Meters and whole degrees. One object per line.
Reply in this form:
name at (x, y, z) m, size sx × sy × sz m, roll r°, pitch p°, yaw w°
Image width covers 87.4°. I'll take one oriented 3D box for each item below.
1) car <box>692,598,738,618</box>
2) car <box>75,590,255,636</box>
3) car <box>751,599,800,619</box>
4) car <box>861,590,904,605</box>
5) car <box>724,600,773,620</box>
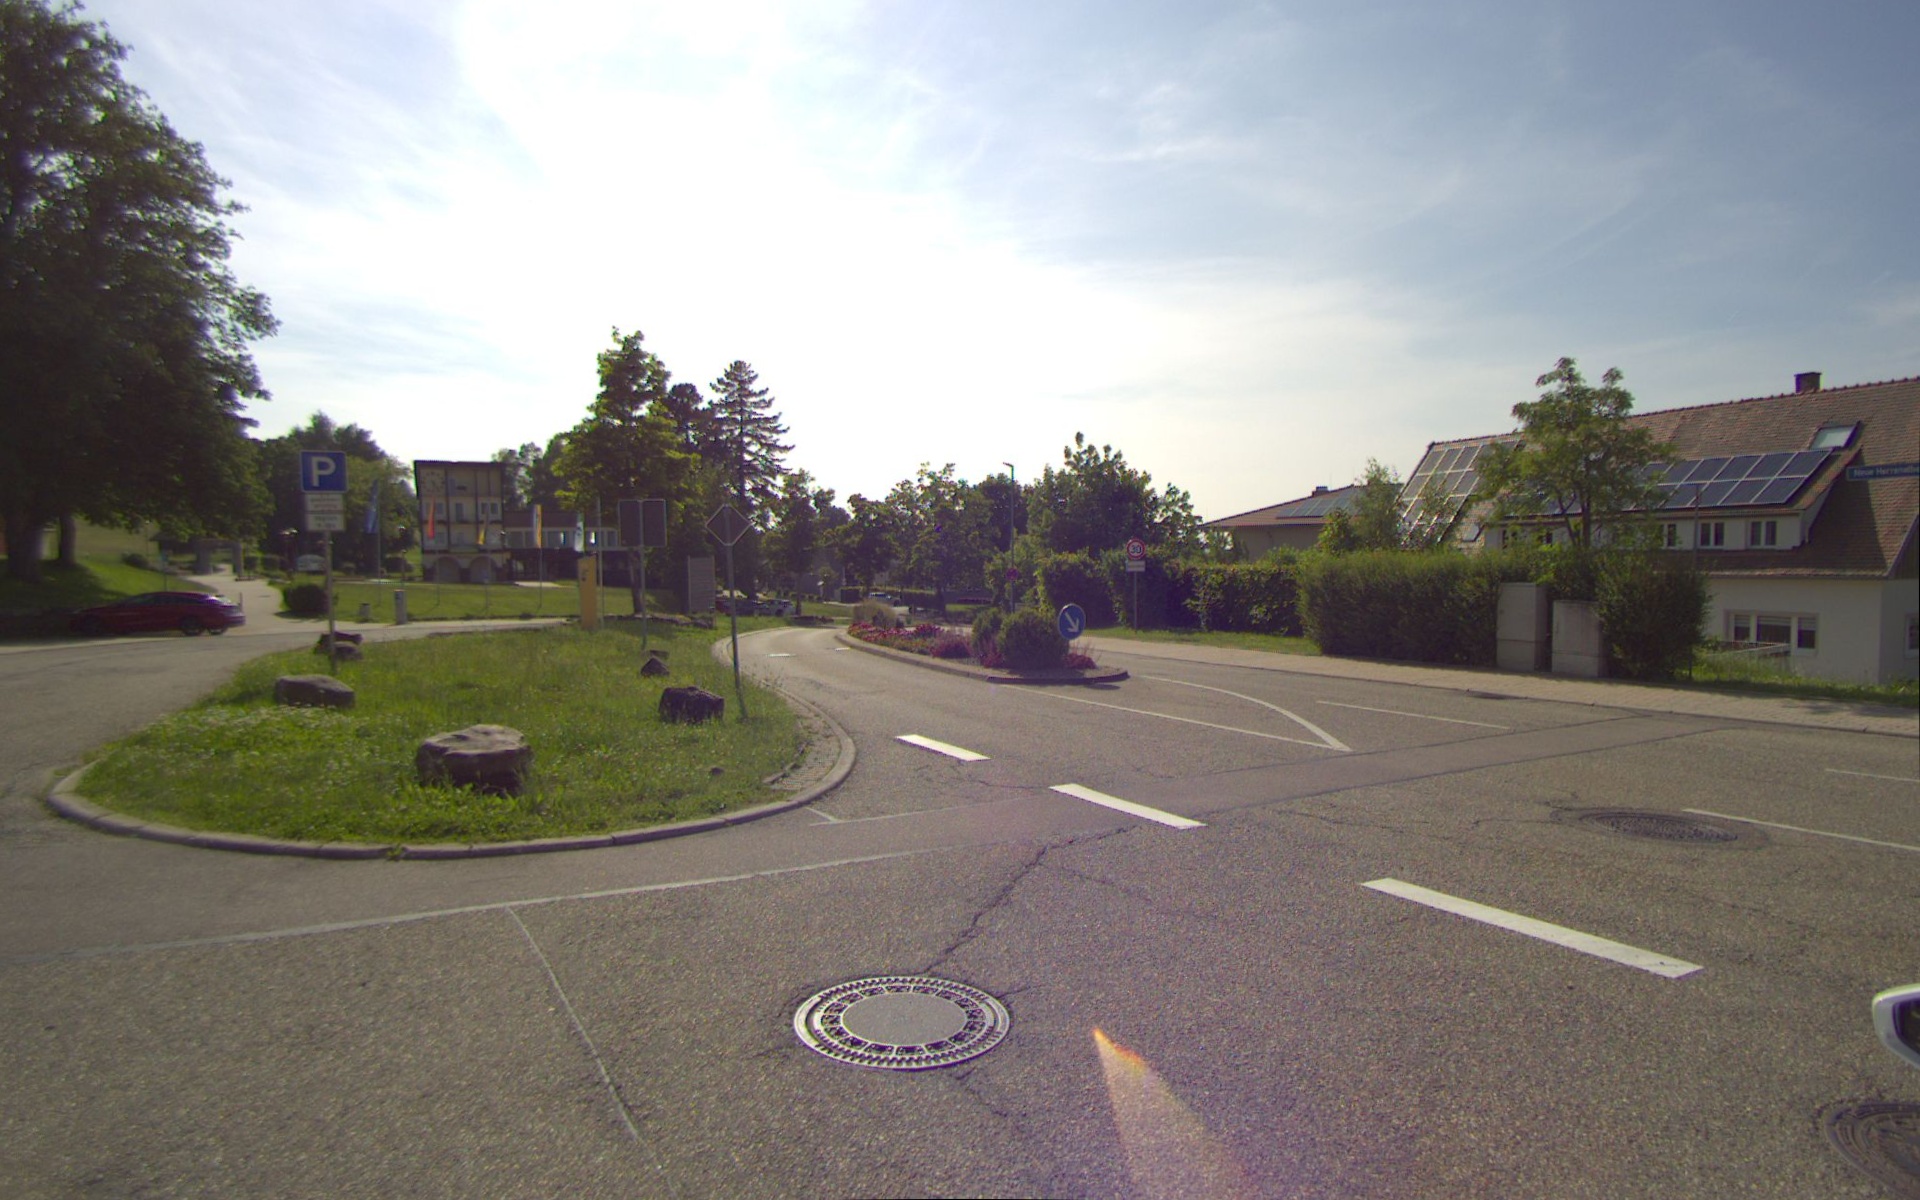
car at (-19.794, 0.647, 81.219) m, size 3.146 × 1.490 × 1.775 m, roll 2°, pitch 0°, yaw 23°
car at (-25.749, 0.427, 32.693) m, size 4.166 × 1.417 × 1.819 m, roll 1°, pitch 0°, yaw -14°
car at (-16.162, 0.803, 87.912) m, size 3.866 × 1.630 × 1.775 m, roll 2°, pitch 0°, yaw 25°
car at (-9.273, -0.309, 120.026) m, size 4.678 × 1.555 × 1.982 m, roll -1°, pitch 6°, yaw -33°
car at (-17.681, 0.835, 84.137) m, size 3.643 × 1.452 × 1.775 m, roll 2°, pitch 0°, yaw 25°
